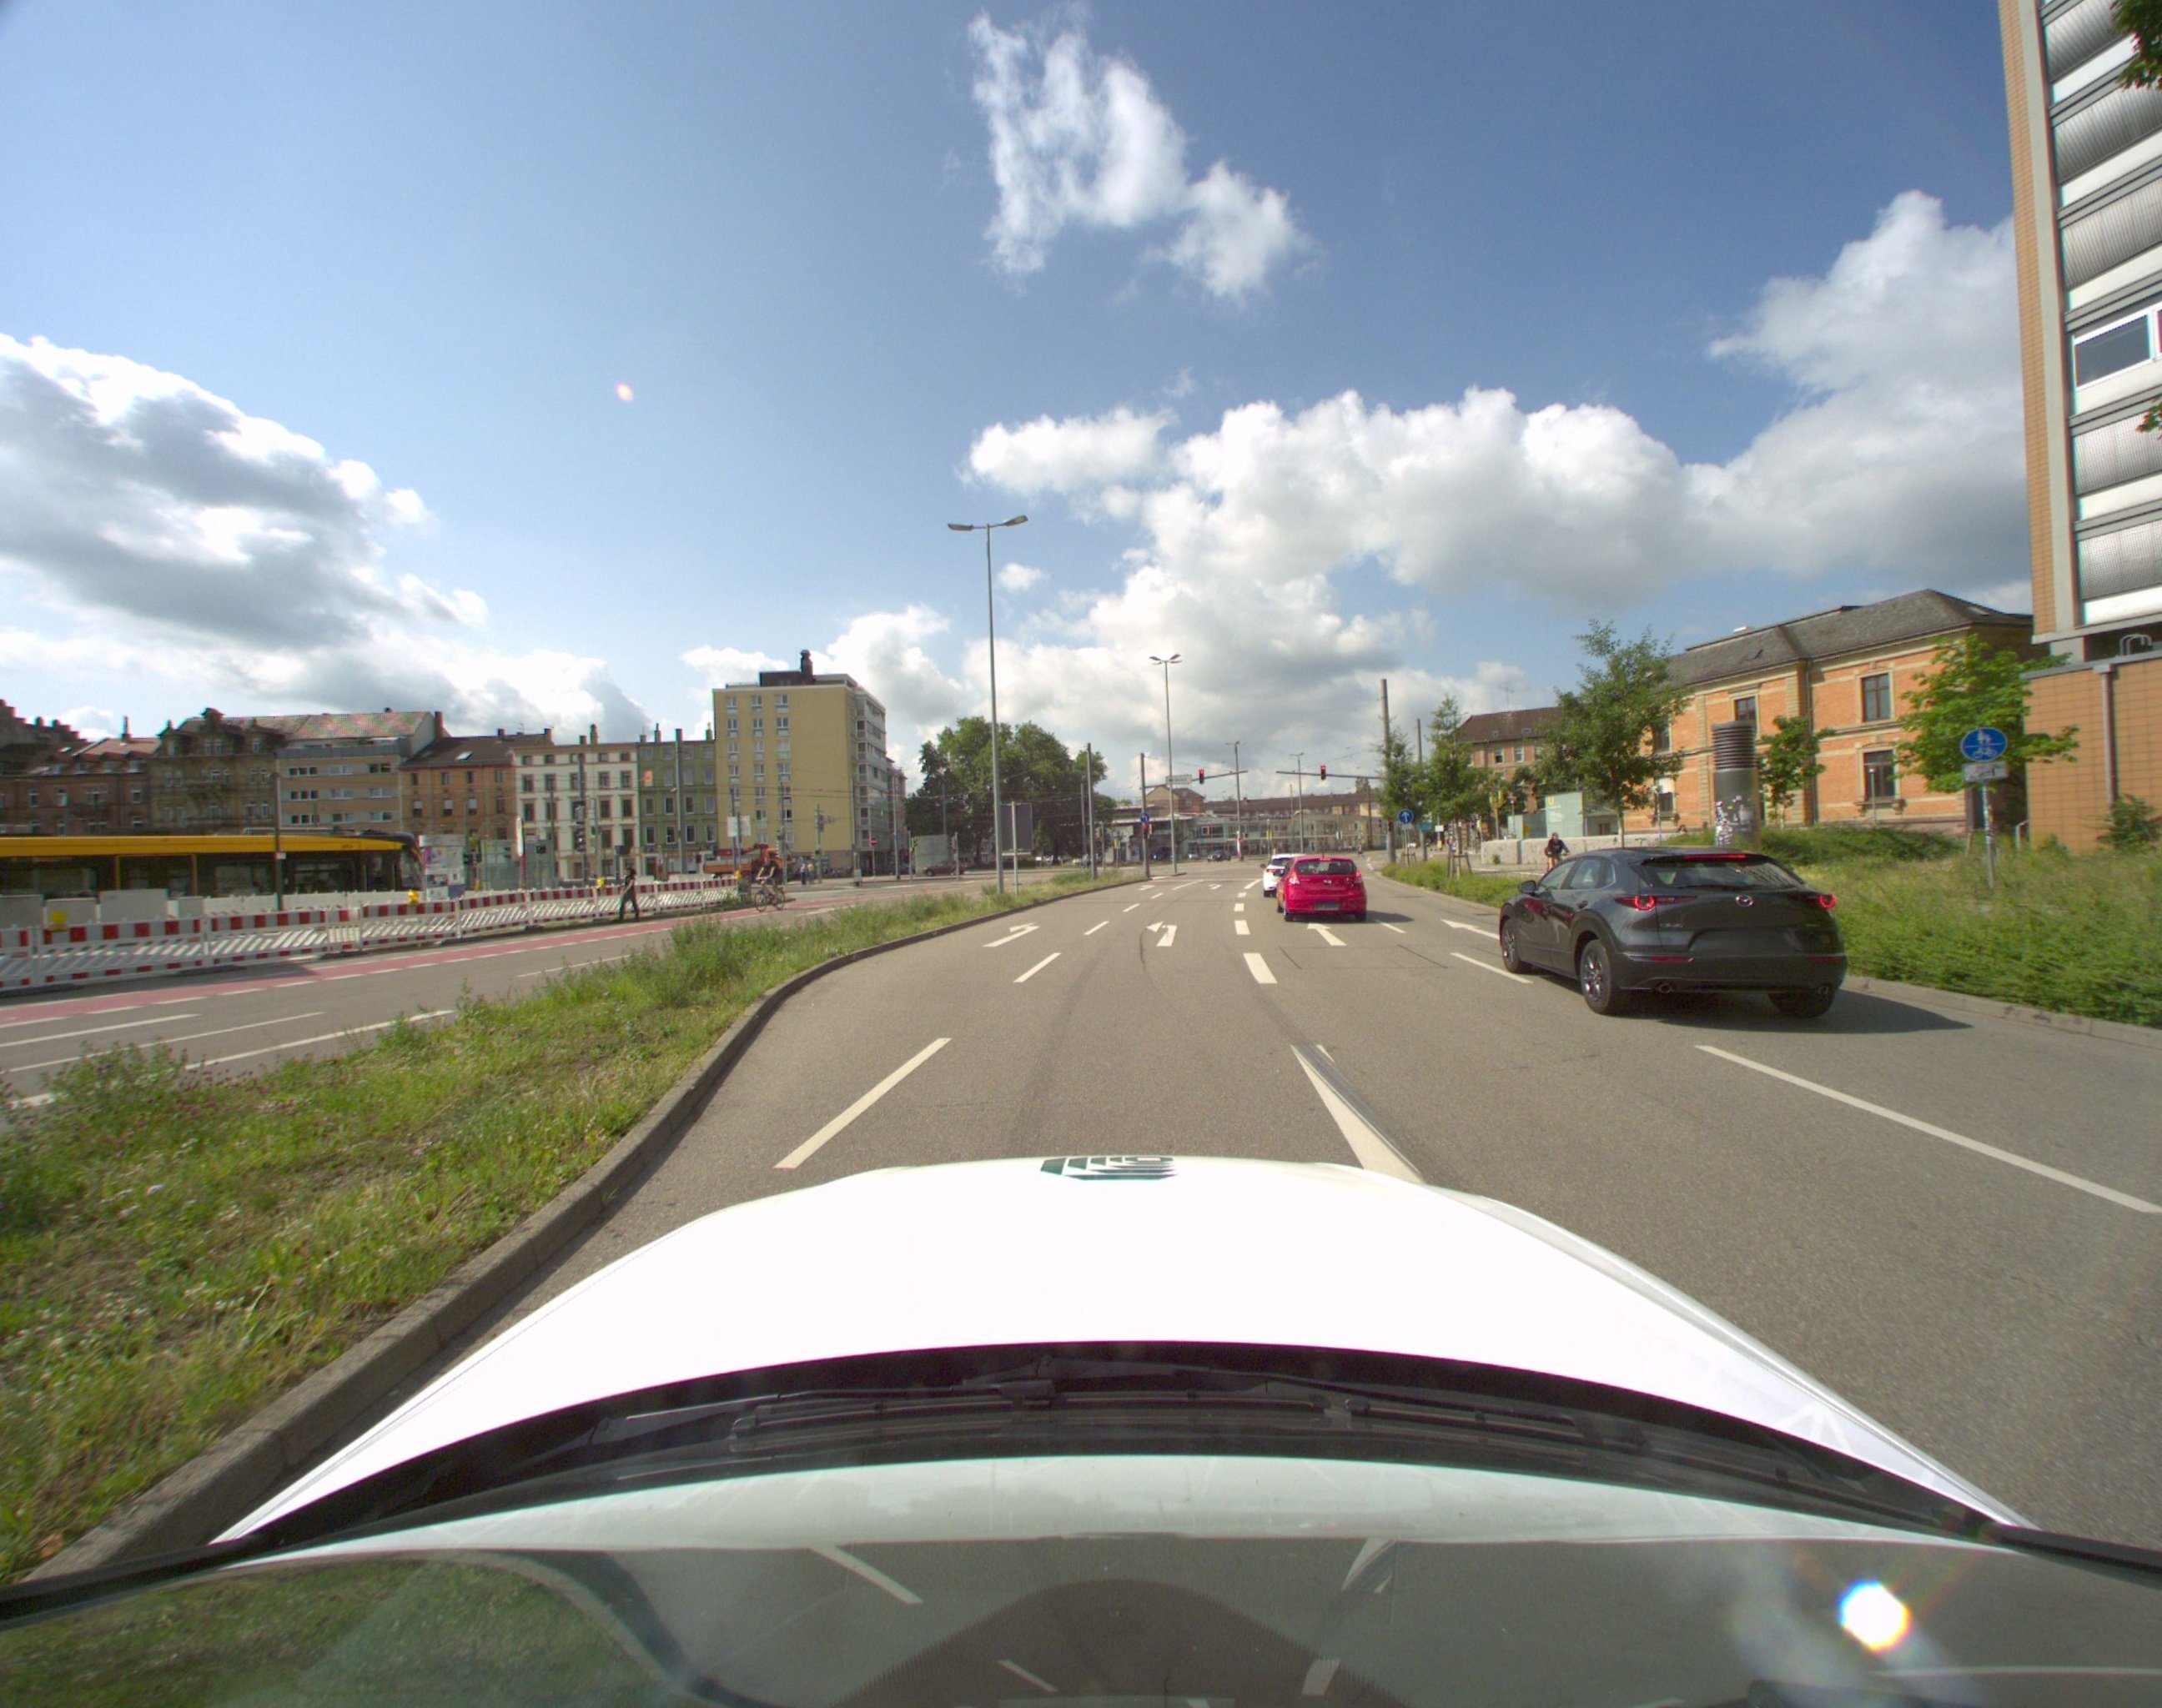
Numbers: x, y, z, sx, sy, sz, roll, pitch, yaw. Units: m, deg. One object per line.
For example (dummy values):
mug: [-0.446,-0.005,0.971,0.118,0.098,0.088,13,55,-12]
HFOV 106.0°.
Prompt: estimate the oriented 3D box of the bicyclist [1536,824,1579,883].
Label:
bicyclist: [14.540,-0.016,24.866,0.731,1.702,0.968,-4,-1,11]

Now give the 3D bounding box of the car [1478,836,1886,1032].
car: [5.721,0.652,8.512,1.794,1.508,4.218,-2,-1,11]

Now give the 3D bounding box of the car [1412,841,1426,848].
car: [70.615,-1.972,170.281,1.974,1.442,4.026,-2,0,32]

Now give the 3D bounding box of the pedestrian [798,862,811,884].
pedestrian: [-24.172,1.685,71.146,0.694,1.860,0.822,-2,0,13]

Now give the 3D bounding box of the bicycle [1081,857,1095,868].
bicycle: [0.753,0.935,90.615,1.464,1.117,0.585,-2,0,-9]

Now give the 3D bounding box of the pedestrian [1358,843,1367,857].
pedestrian: [32.644,-0.431,94.399,0.677,1.535,0.668,-2,0,-26]

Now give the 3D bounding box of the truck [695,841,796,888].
truck: [-29.961,0.926,72.976,7.904,3.856,2.196,-2,0,-6]

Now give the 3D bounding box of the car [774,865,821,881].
car: [-28.374,1.932,81.691,4.058,1.508,1.812,1,0,-3]

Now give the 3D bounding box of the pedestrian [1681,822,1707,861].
pedestrian: [27.228,-0.535,36.172,0.756,1.687,0.886,-2,-1,43]

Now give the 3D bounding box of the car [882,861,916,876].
car: [-22.579,1.749,101.144,3.983,1.662,1.995,-2,0,-7]

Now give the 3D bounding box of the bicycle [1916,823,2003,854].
bicycle: [32.596,-0.564,30.259,0.667,1.072,2.056,-2,0,-22]

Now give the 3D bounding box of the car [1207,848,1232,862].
car: [17.639,0.128,103.358,1.975,1.530,4.024,-2,0,27]

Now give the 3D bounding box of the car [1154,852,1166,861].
car: [13.791,0.384,141.895,1.983,1.552,4.086,-2,0,6]

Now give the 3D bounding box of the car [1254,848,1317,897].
car: [7.012,0.588,28.317,1.836,1.472,4.348,-3,0,11]

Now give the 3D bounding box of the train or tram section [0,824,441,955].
train or tram section: [-28.110,0.924,25.405,2.634,3.572,12.491,-3,0,42]

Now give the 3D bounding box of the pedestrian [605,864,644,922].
pedestrian: [-13.709,1.164,24.465,0.731,1.681,0.642,-2,0,9]

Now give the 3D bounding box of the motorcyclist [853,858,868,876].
motorcyclist: [-23.263,1.380,85.835,0.880,1.782,1.248,-3,0,18]

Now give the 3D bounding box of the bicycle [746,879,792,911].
bicycle: [-10.738,1.395,28.067,0.613,1.002,2.021,-2,0,5]

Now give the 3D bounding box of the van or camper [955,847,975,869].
van or camper: [-16.569,0.565,115.896,2.581,2.908,6.080,-2,0,-9]

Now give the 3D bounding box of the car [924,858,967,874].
car: [-13.764,1.224,82.639,4.058,1.508,1.812,-2,0,-3]

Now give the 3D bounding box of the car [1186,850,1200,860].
car: [19.415,0.150,141.774,1.986,1.596,4.002,-2,0,2]

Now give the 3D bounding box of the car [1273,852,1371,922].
car: [5.539,0.695,19.162,1.804,1.439,4.080,-1,0,11]

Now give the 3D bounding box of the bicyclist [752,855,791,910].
bicyclist: [-10.716,0.969,28.231,0.807,1.822,1.161,-2,0,5]

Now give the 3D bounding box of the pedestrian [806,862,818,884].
pedestrian: [-23.437,1.654,70.991,0.646,1.868,0.784,-2,0,13]

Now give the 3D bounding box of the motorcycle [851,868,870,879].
motorcycle: [-23.221,2.036,85.788,0.775,1.115,2.446,-3,0,18]

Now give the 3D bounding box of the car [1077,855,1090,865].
car: [0.442,1.044,146.198,1.788,1.769,4.008,-2,0,7]

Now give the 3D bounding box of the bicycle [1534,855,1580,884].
bicycle: [14.572,0.447,24.964,0.621,0.811,1.794,-4,-1,11]

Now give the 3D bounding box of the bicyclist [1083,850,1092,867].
bicyclist: [0.719,0.533,90.584,0.885,1.871,0.761,-2,0,-9]

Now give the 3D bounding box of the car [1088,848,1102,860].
car: [2.540,0.046,145.417,1.983,2.013,4.008,-2,0,7]
